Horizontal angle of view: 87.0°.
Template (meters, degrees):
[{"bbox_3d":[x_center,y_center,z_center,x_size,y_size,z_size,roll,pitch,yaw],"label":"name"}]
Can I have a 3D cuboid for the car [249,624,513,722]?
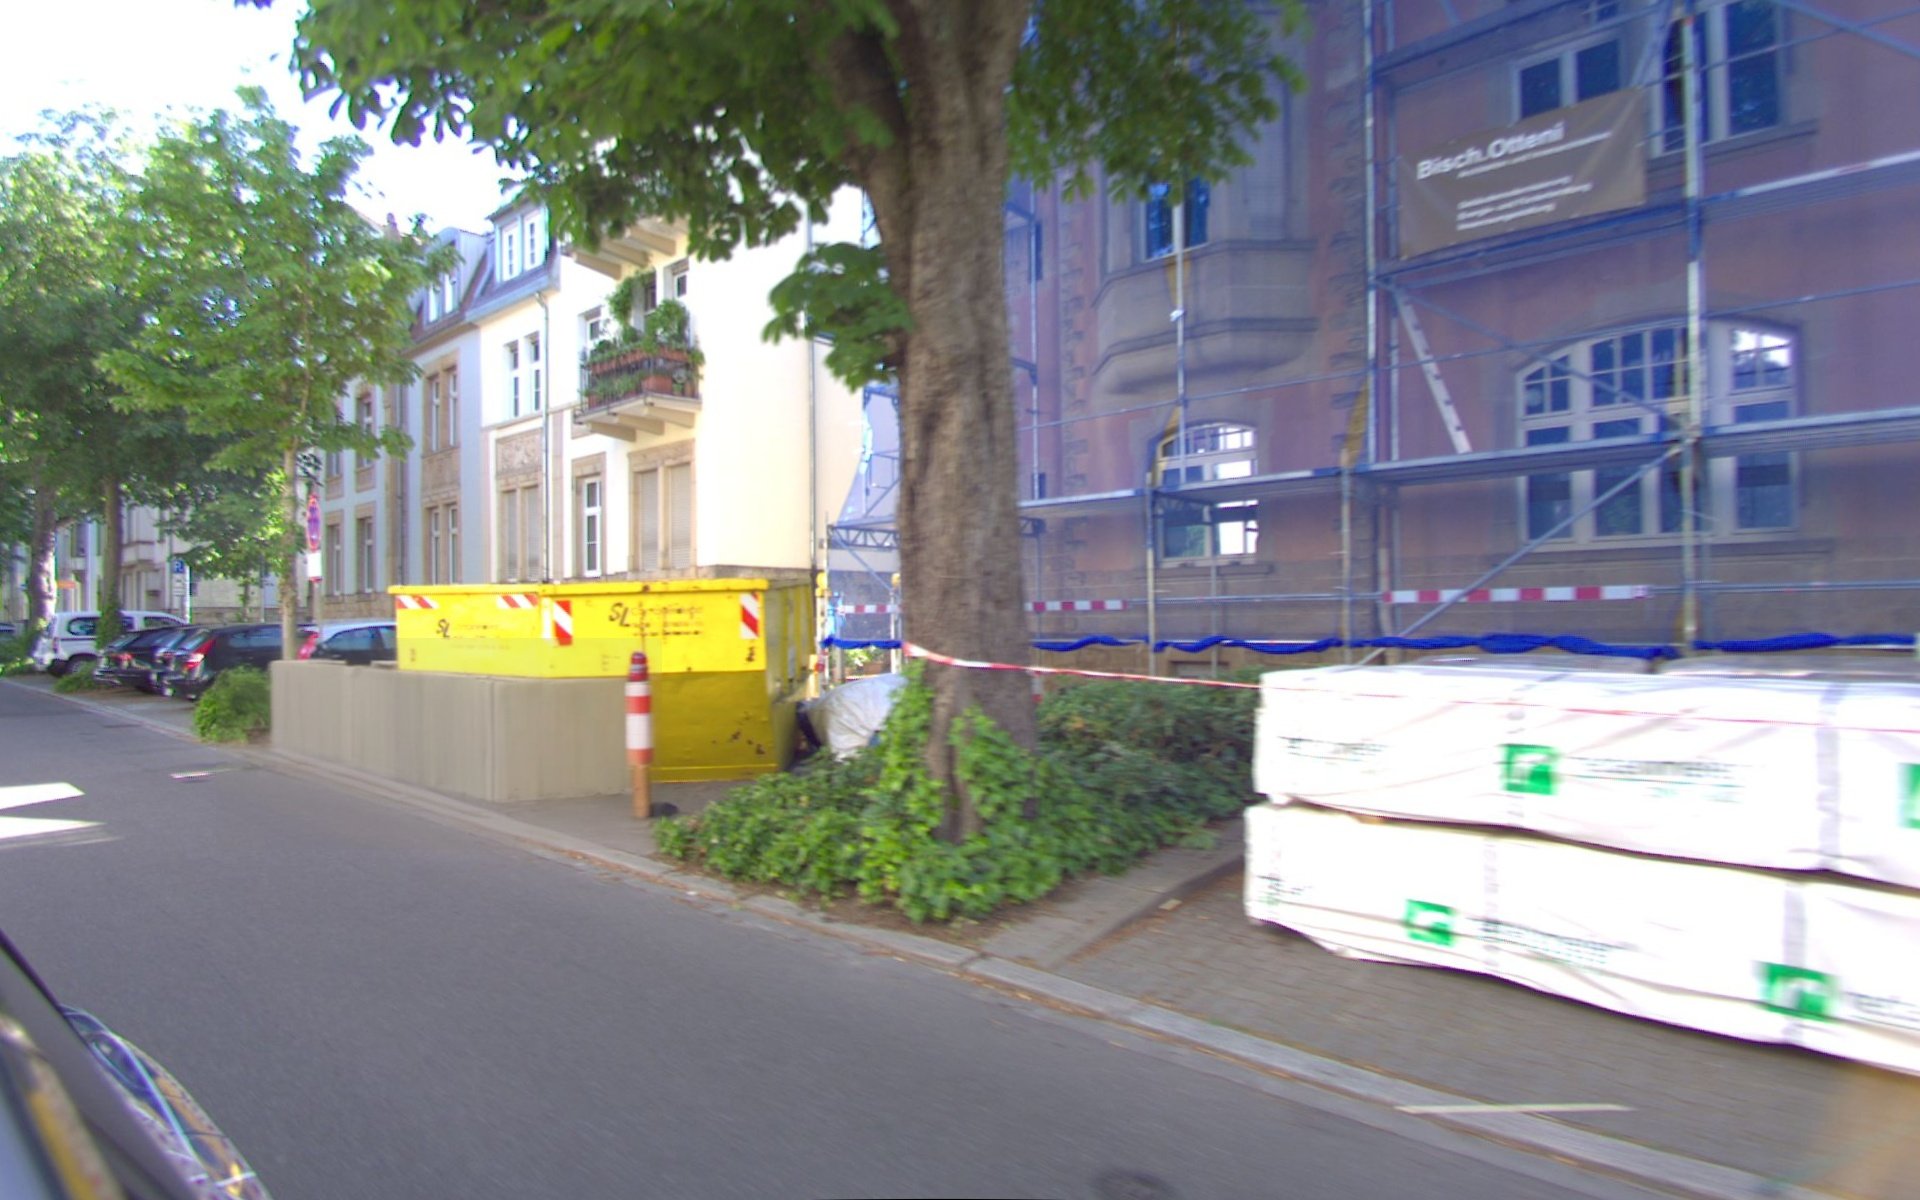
[{"bbox_3d":[-9.683,1.163,17.107,1.695,1.459,3.512,-2,-3,42],"label":"car"}]

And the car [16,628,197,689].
[{"bbox_3d":[-24.003,1.586,28.553,1.720,1.528,3.687,-2,-1,40],"label":"car"}]

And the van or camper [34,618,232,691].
[{"bbox_3d":[-22.239,1.420,27.326,1.808,1.787,3.904,-3,-2,40],"label":"van or camper"}]

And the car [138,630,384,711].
[{"bbox_3d":[-13.768,1.327,20.090,1.645,1.442,3.708,-2,-3,41],"label":"car"}]

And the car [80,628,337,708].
[{"bbox_3d":[-15.753,1.353,21.381,1.709,1.411,4.097,-2,-1,41],"label":"car"}]

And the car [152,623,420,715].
[{"bbox_3d":[-11.973,1.183,18.150,1.714,1.476,3.686,-3,-4,42],"label":"car"}]

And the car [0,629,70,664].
[{"bbox_3d":[-44.364,2.211,47.449,3.939,1.443,1.806,-2,1,-42],"label":"car"}]
